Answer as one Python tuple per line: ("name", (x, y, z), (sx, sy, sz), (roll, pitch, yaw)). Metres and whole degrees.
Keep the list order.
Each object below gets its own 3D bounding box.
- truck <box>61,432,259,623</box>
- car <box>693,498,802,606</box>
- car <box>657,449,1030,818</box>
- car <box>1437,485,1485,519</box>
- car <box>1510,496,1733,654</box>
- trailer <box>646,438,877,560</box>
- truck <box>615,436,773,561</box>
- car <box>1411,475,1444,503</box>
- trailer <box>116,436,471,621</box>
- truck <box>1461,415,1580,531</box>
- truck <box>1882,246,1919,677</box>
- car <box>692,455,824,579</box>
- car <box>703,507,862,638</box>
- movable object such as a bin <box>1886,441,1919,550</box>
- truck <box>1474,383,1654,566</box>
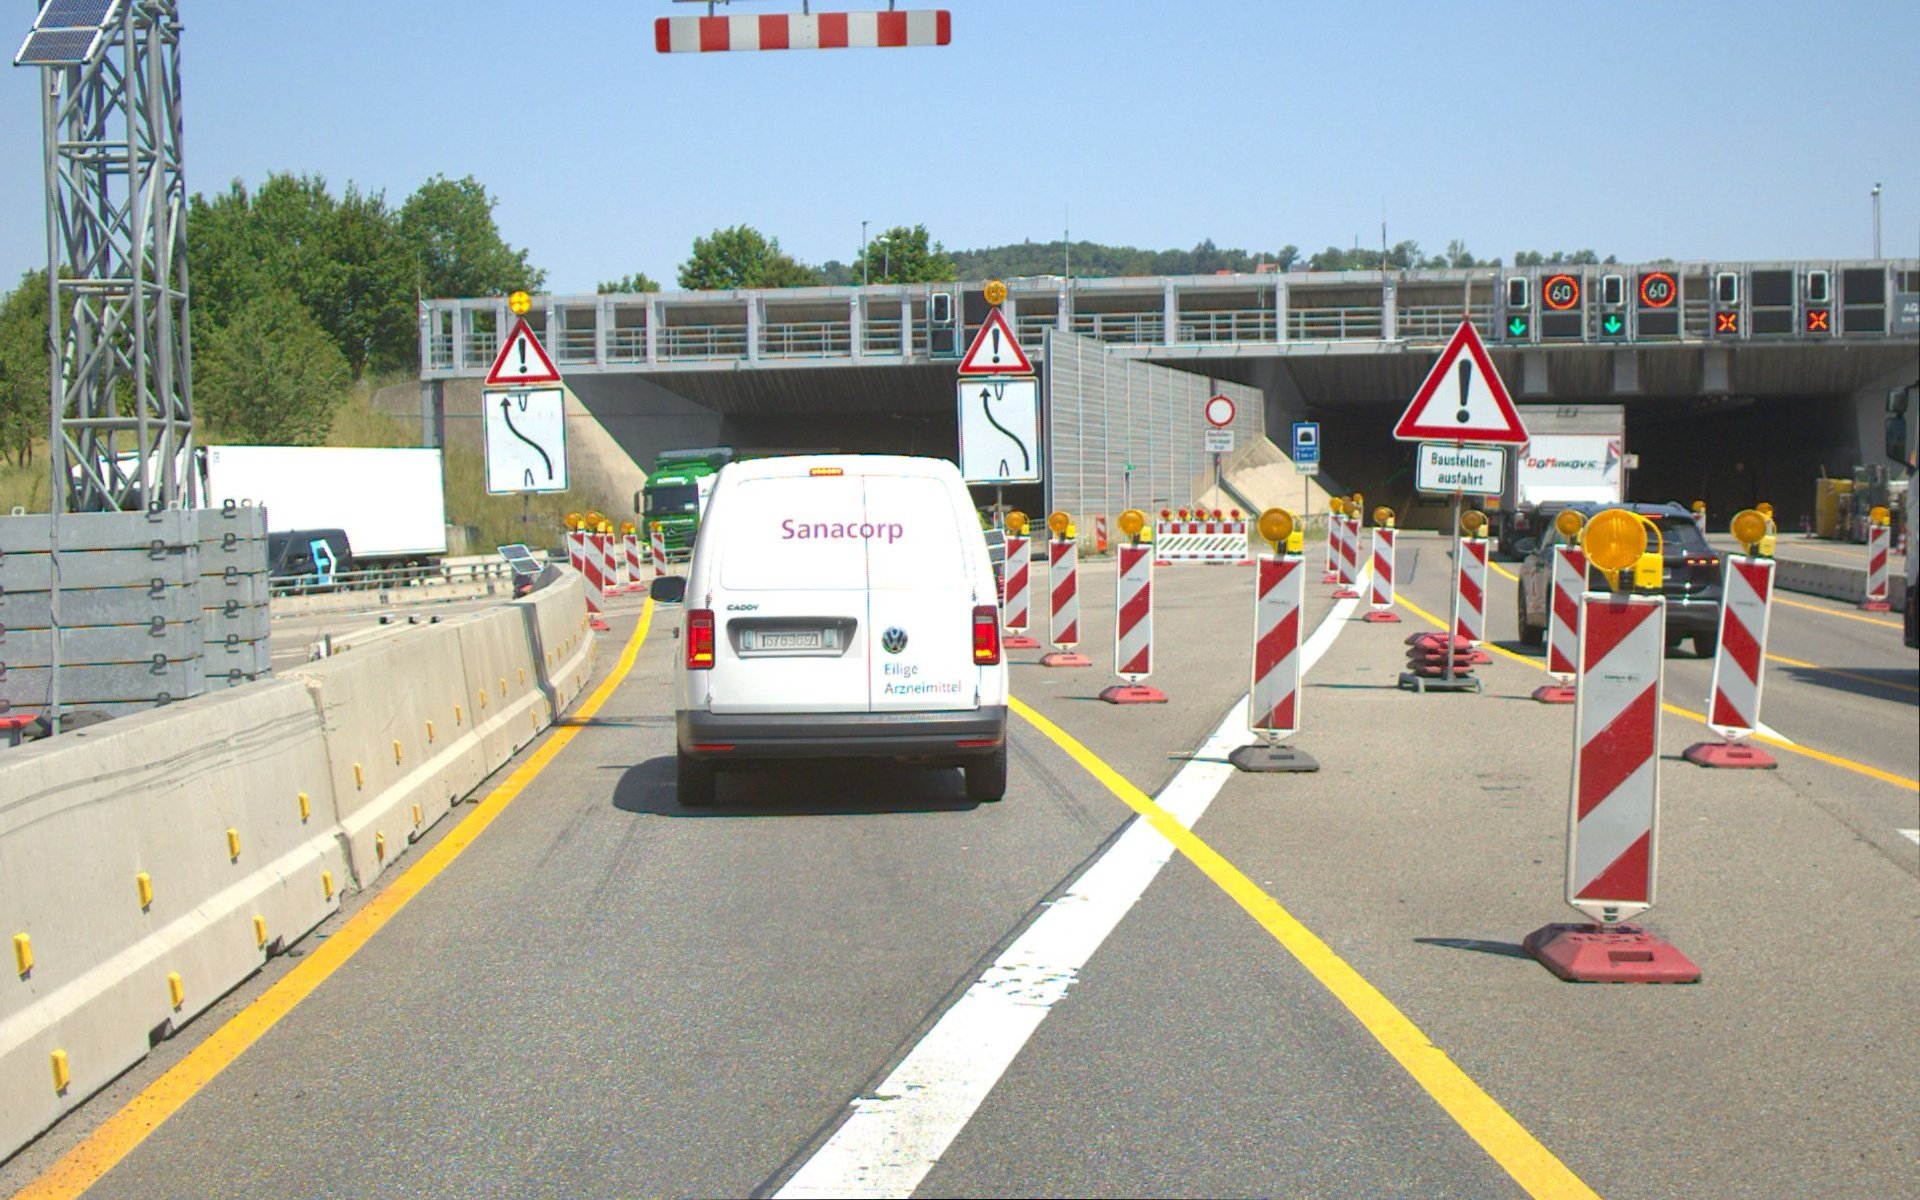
("truck", (-19.380, -1.780, 83.504), (2.666, 4.484, 4.839), (1, 2, 16))
("car", (-3.773, -0.877, 61.224), (1.808, 1.809, 4.410), (-2, 1, -3))
("car", (-0.679, 0.123, 19.023), (1.808, 1.788, 3.732), (-2, 1, -3))
("car", (28.078, -5.500, 192.738), (2.332, 1.832, 4.543), (1, 1, 4))
("car", (7.176, -0.306, 37.674), (1.815, 1.624, 4.190), (1, 1, 3))
("trailer", (-7.114, -3.670, 126.993), (3.549, 4.255, 13.896), (0, 1, 19))
("truck", (-9.280, -3.540, 120.643), (3.549, 4.255, 5.774), (0, 1, 19))
("car", (28.152, -6.694, 207.033), (1.815, 1.624, 4.189), (1, 1, 6))
("trailer", (-17.255, -1.936, 90.771), (2.666, 4.484, 14.919), (1, 2, 16))
("truck", (20.862, -4.630, 128.884), (3.402, 4.057, 16.533), (1, 1, 6))
("truck", (10.313, -1.243, 30.325), (2.745, 4.019, 5.927), (1, 1, 0))
("car", (-4.643, -1.893, 80.314), (2.813, 2.764, 7.102), (0, 1, -1))
("car", (-2.299, -0.380, 43.653), (1.808, 1.532, 4.410), (-2, 1, -5))
("movable object such as a bin", (27.723, -2.871, 92.301), (3.112, 3.000, 14.699), (-2, 1, 6))
("truck", (15.644, -3.075, 90.295), (3.402, 4.320, 16.533), (1, 1, 6))
